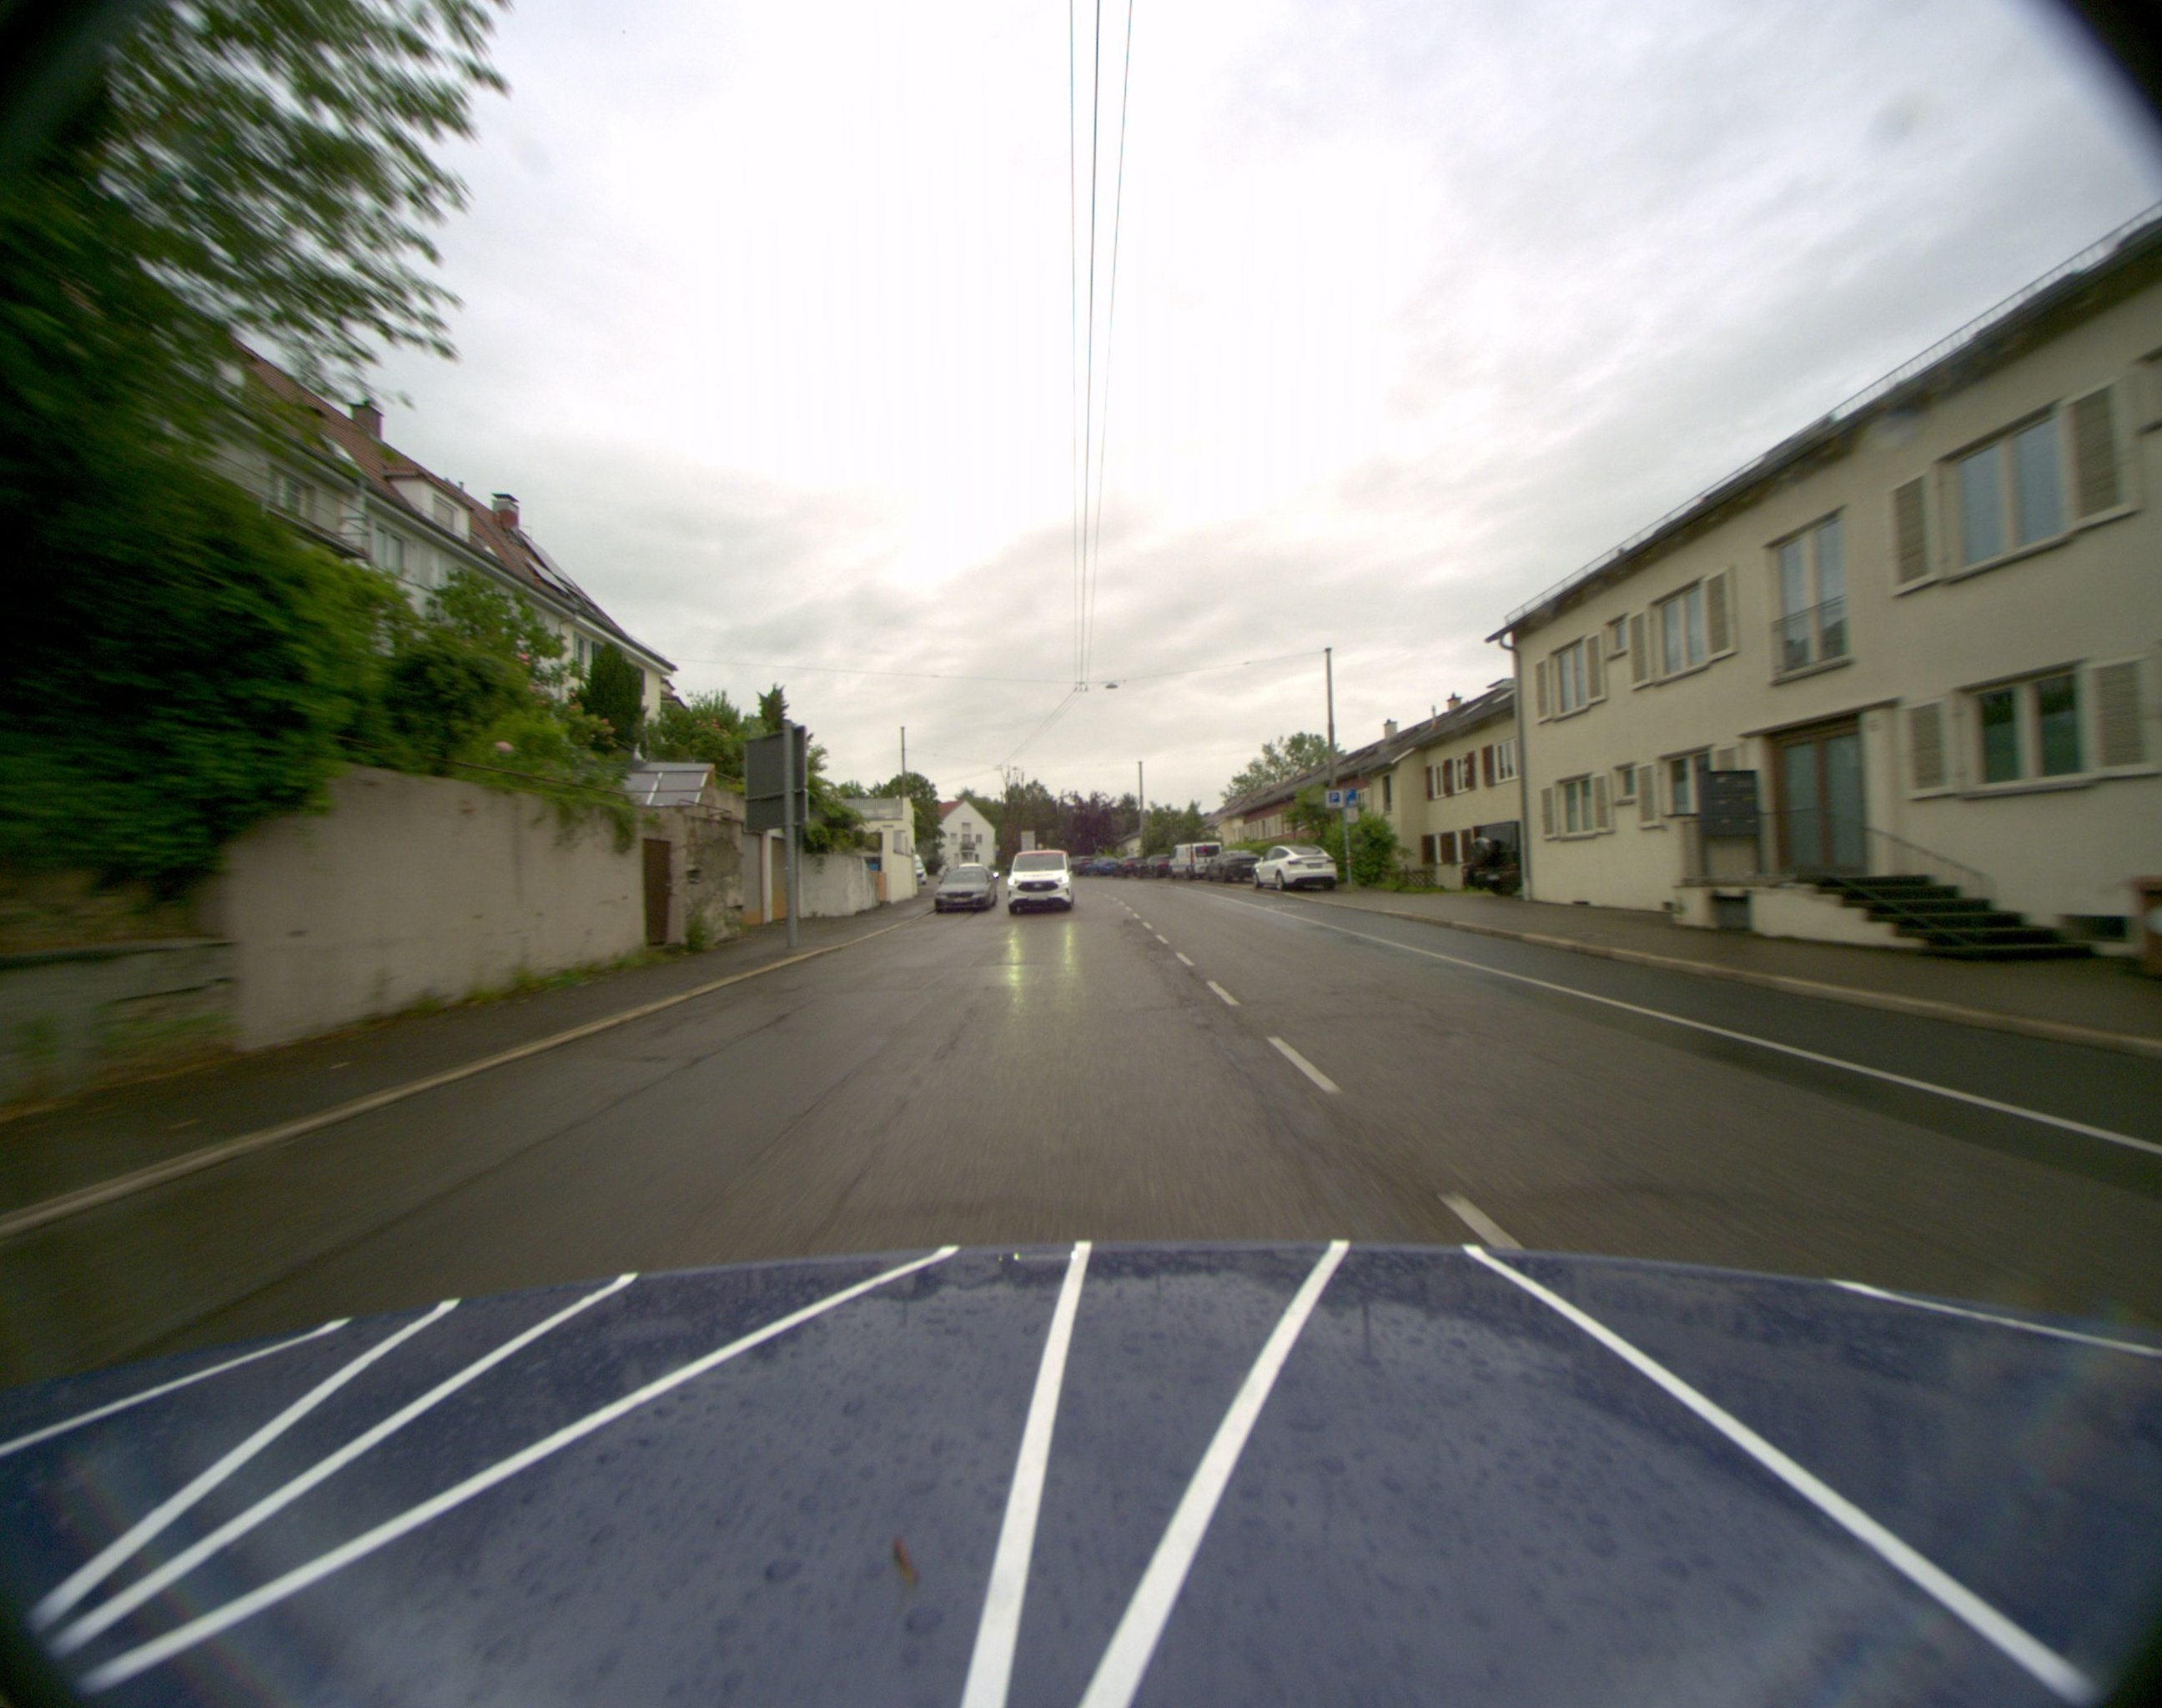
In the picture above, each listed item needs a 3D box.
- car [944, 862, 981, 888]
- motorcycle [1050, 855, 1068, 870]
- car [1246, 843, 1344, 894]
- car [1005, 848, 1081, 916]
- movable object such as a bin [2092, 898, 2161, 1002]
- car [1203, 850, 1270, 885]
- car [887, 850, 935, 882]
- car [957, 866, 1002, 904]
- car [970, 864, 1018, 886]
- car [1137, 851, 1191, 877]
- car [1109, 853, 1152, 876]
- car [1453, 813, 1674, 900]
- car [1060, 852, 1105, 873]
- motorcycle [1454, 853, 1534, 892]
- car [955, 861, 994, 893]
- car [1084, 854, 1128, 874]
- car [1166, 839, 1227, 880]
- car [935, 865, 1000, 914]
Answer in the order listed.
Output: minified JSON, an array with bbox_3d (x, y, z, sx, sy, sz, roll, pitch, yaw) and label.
[{"bbox_3d":[-7.688,1.290,48.880,1.685,1.475,4.195,-3,1,-18],"label":"car"},{"bbox_3d":[-1.946,0.723,67.033,0.574,1.264,1.910,-2,1,32],"label":"motorcycle"},{"bbox_3d":[7.714,0.476,27.859,1.934,1.621,4.675,-3,1,-4],"label":"car"},{"bbox_3d":[-1.154,0.861,25.215,2.041,1.927,4.516,-3,0,2],"label":"car"},{"bbox_3d":[9.740,0.851,6.702,0.675,0.854,0.708,-3,1,0],"label":"movable object such as a bin"},{"bbox_3d":[7.230,0.597,35.785,1.813,1.468,4.520,-3,0,-5],"label":"car"},{"bbox_3d":[-14.110,0.956,62.944,2.109,2.527,5.605,0,0,-32],"label":"car"},{"bbox_3d":[-4.354,1.290,33.075,1.646,1.428,4.172,-2,0,-4],"label":"car"},{"bbox_3d":[-6.567,1.562,56.984,2.169,1.487,4.696,-3,0,-24],"label":"car"},{"bbox_3d":[5.079,0.608,47.268,1.815,1.468,4.516,-3,0,-15],"label":"car"},{"bbox_3d":[3.400,0.704,53.047,1.814,1.468,4.517,-3,0,-12],"label":"car"},{"bbox_3d":[12.322,0.066,19.586,4.501,2.001,1.888,-2,-1,-3],"label":"car"},{"bbox_3d":[0.111,0.743,62.767,1.930,1.568,4.379,-3,0,-26],"label":"car"},{"bbox_3d":[13.377,0.600,24.650,2.098,1.128,0.839,-2,2,3],"label":"motorcycle"},{"bbox_3d":[-6.145,1.273,43.567,1.810,1.639,4.205,-2,0,-13],"label":"car"},{"bbox_3d":[1.862,0.787,58.211,1.706,1.396,4.465,-3,0,-21],"label":"car"},{"bbox_3d":[6.287,0.293,42.073,1.854,2.067,5.017,-3,0,-8],"label":"car"},{"bbox_3d":[-4.036,1.216,27.736,1.794,1.487,4.704,-2,0,-2],"label":"car"}]
